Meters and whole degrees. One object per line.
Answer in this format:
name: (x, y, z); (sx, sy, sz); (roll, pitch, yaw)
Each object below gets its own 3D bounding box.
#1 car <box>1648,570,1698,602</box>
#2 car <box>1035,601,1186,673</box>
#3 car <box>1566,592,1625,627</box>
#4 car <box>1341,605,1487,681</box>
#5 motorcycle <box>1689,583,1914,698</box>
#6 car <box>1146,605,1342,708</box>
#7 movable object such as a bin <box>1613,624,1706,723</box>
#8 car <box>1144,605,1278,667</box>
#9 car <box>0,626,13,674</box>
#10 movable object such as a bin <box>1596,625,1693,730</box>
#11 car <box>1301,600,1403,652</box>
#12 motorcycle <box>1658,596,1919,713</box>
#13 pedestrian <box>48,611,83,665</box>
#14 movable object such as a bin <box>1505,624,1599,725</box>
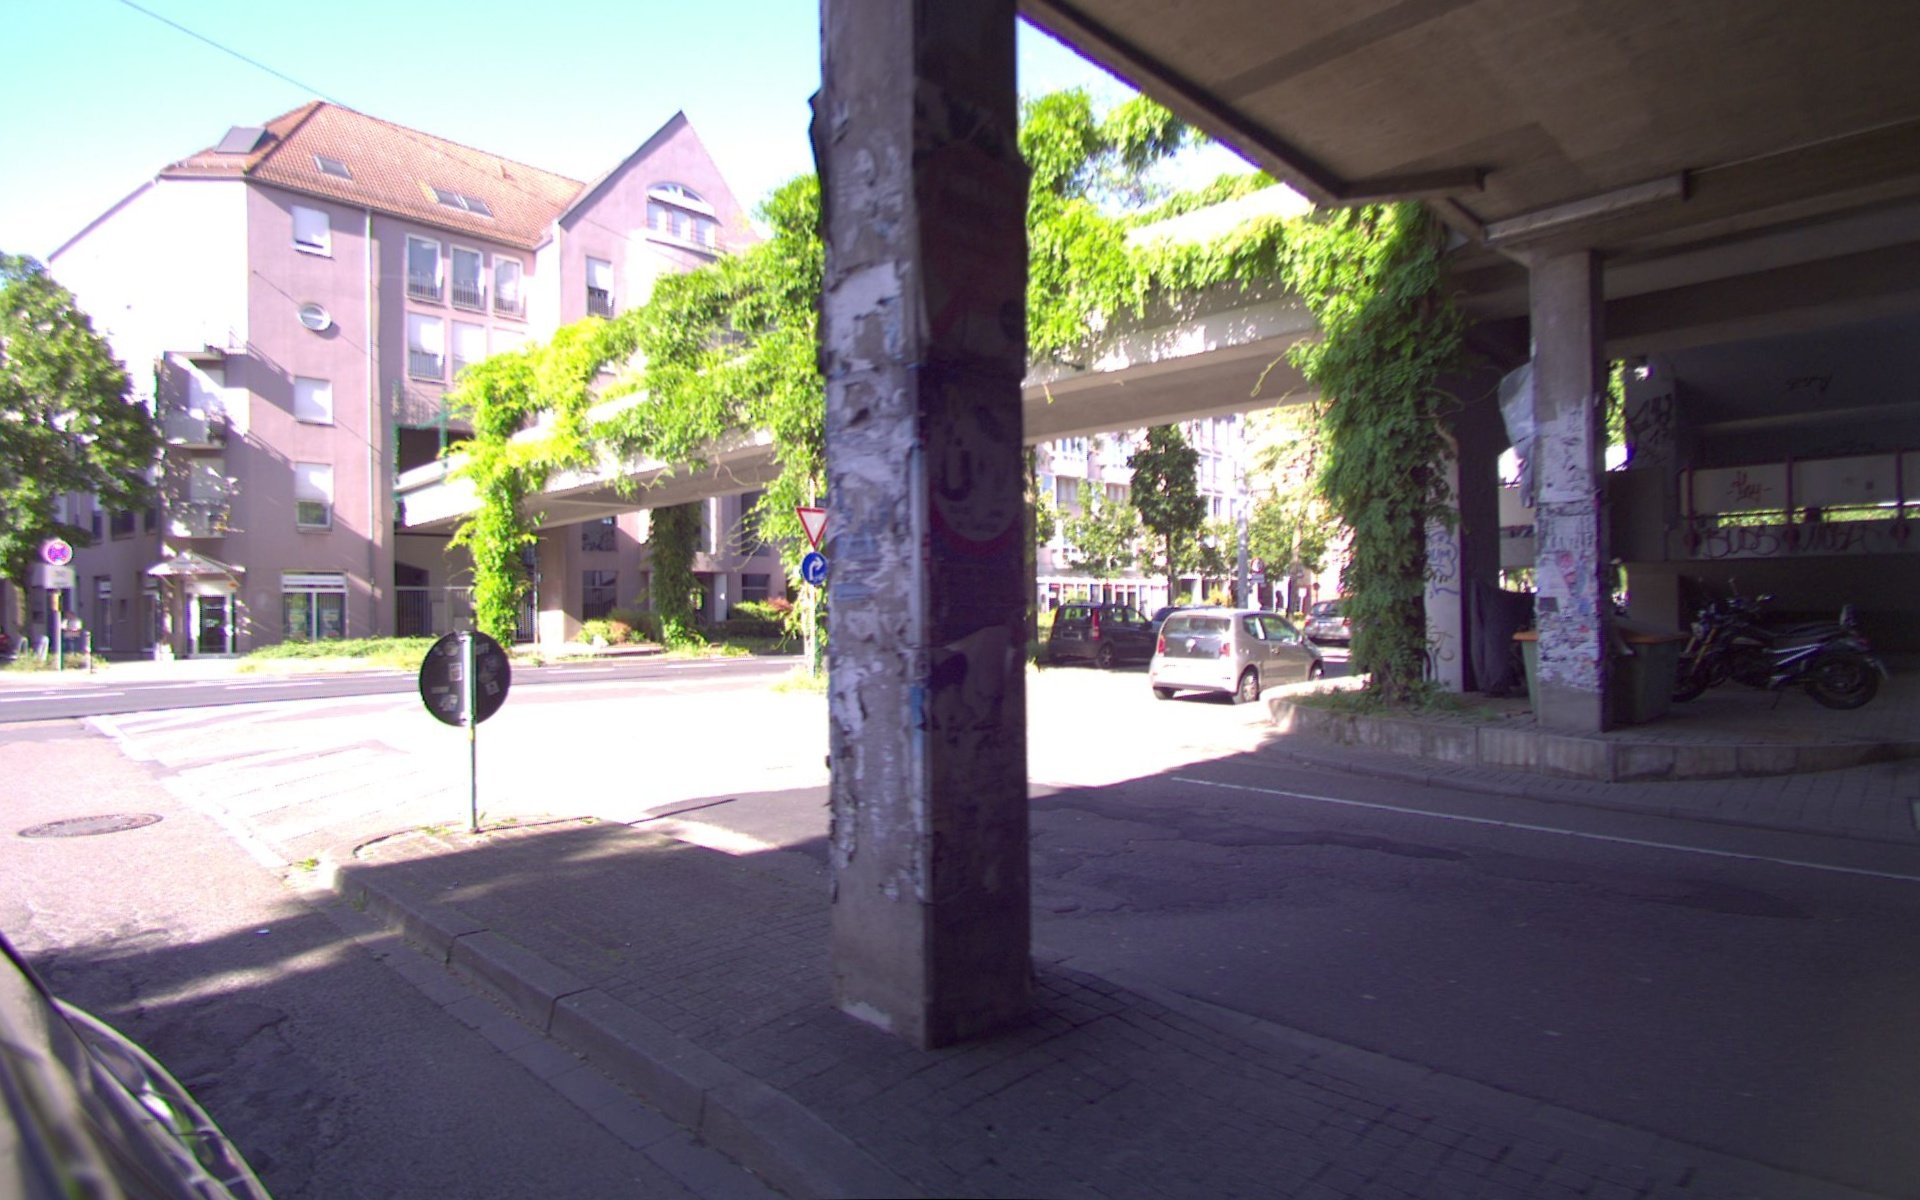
car: (48.176, -0.916, 68.340); (4.232, 2.029, 2.001); (0, -1, -45)
car: (3.677, 0.829, 24.417); (1.746, 1.550, 3.724); (2, 1, 44)
car: (36.948, 0.542, 58.777); (2.071, 1.923, 4.461); (-2, -1, 43)
car: (10.246, 0.897, 22.712); (1.739, 1.541, 3.942); (-1, -1, 44)
motorcycle: (9.982, 0.465, 12.075); (1.993, 1.273, 0.671); (-2, -1, 43)
car: (4.735, 0.838, 16.599); (1.611, 1.497, 3.596); (-1, -1, 43)
movable object such as a bin: (6.922, 0.703, 10.008); (0.641, 0.912, 0.777); (-2, -1, 43)
car: (6.837, 0.906, 27.307); (1.658, 1.459, 4.222); (3, 2, 43)
car: (-31.563, 1.572, 31.958); (3.991, 1.473, 1.672); (-1, -1, 36)
movable object such as a bin: (6.396, 0.701, 9.454); (0.641, 0.912, 0.709); (-2, -1, 43)
car: (13.341, 0.854, 34.341); (1.779, 1.659, 4.023); (-2, -1, 44)
motorcycle: (8.618, 0.538, 10.555); (2.149, 1.119, 0.520); (-1, -1, 42)
pedestrian: (-26.401, 1.110, 29.866); (0.623, 1.588, 0.533); (0, -1, -21)
movable object such as a bin: (5.733, 0.701, 9.798); (0.641, 0.912, 0.709); (-2, -1, 43)
